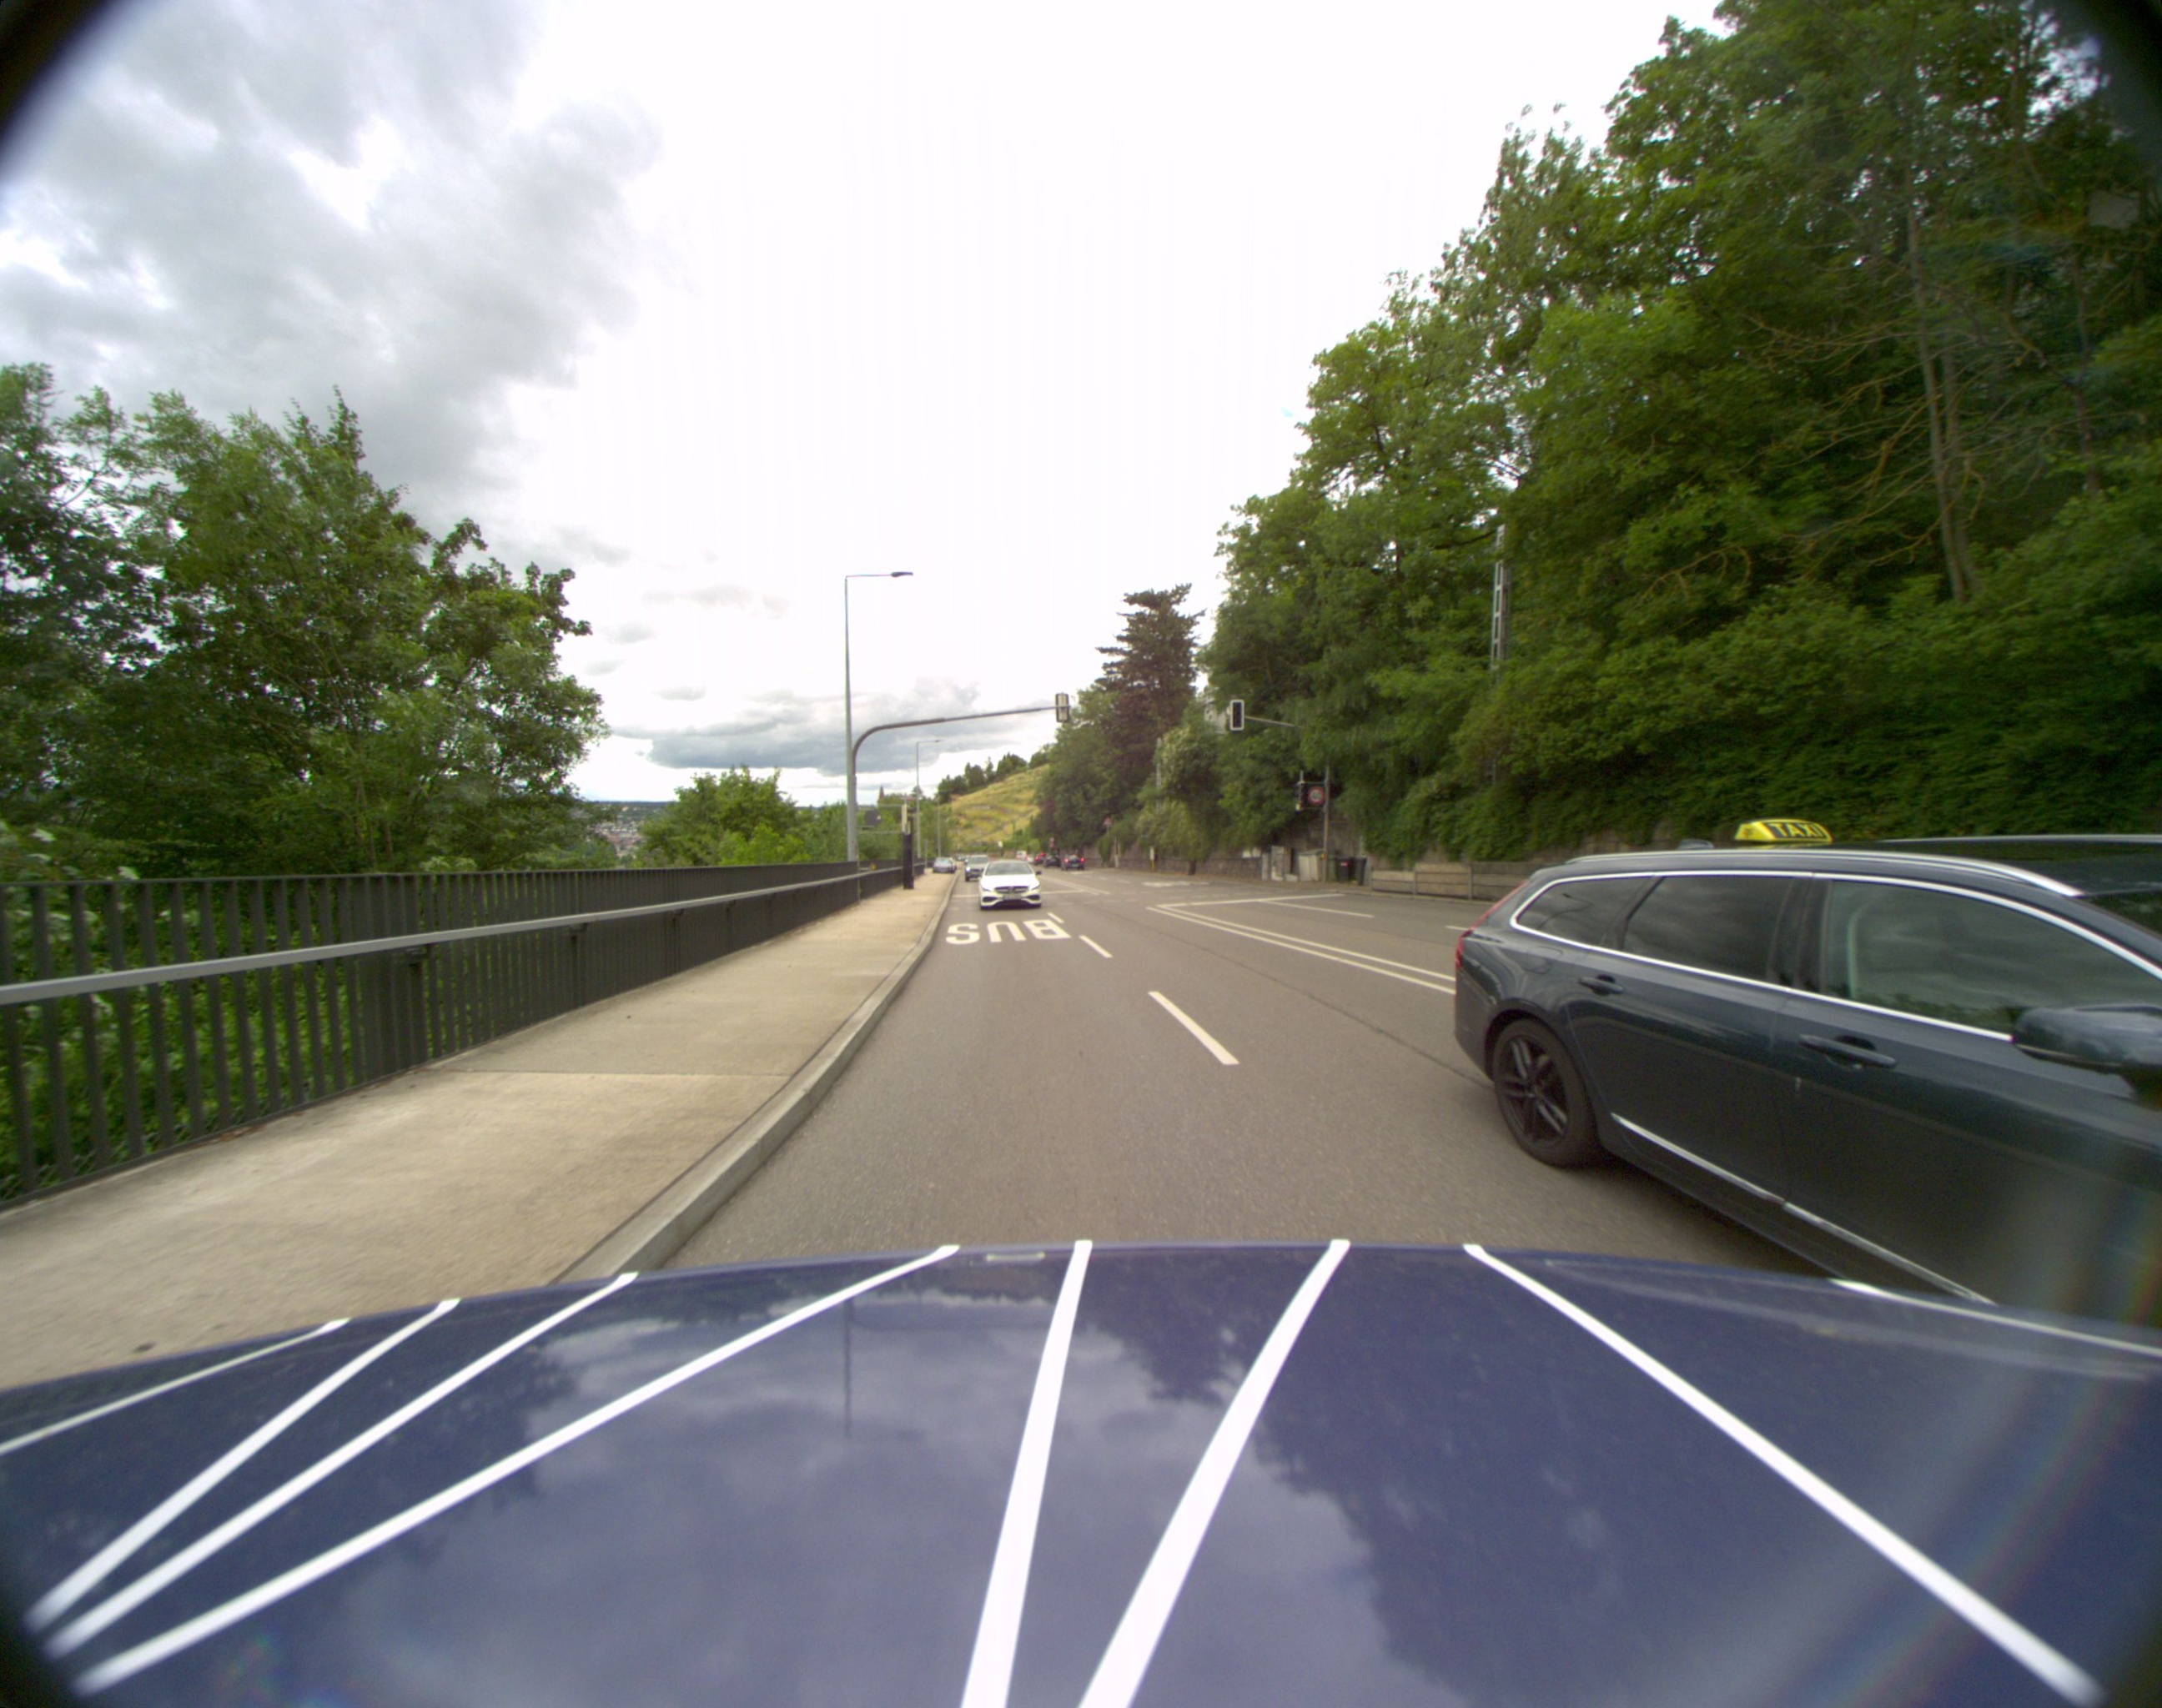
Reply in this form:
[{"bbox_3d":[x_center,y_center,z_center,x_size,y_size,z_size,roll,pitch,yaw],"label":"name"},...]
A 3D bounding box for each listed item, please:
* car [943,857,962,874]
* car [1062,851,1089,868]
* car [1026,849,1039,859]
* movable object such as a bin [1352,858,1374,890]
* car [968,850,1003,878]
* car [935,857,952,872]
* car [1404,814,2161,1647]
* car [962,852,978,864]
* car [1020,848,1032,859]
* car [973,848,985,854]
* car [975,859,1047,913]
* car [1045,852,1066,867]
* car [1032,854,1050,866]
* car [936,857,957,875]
[{"bbox_3d":[-12.898,1.143,76.273,1.732,1.559,4.620,-1,0,-8],"label":"car"},{"bbox_3d":[-0.530,0.461,68.316,1.818,1.426,4.245,-4,1,-7],"label":"car"},{"bbox_3d":[-7.249,-0.011,113.389,1.680,1.433,4.232,-4,0,-2],"label":"car"},{"bbox_3d":[8.919,0.625,24.025,0.428,0.944,0.478,-4,1,-10],"label":"movable object such as a bin"},{"bbox_3d":[-6.050,0.585,48.167,2.000,1.580,3.997,-4,1,-8],"label":"car"},{"bbox_3d":[-14.684,1.142,81.462,1.665,1.563,4.252,1,0,-8],"label":"car"},{"bbox_3d":[3.007,0.703,1.982,1.940,1.567,5.025,-4,1,-2],"label":"car"},{"bbox_3d":[-15.227,0.537,104.343,2.000,1.574,3.997,-1,0,-8],"label":"car"},{"bbox_3d":[-10.491,-0.147,144.591,1.927,1.993,5.351,-2,0,-8],"label":"car"},{"bbox_3d":[-27.145,-0.786,201.460,1.824,1.687,4.460,-3,1,-26],"label":"car"},{"bbox_3d":[-2.256,0.953,23.557,1.904,1.418,4.263,-3,-1,-9],"label":"car"},{"bbox_3d":[-2.869,0.590,84.043,1.787,1.473,4.208,-4,0,-8],"label":"car"},{"bbox_3d":[-5.317,0.760,99.849,1.948,1.540,4.245,-2,1,-8],"label":"car"},{"bbox_3d":[-12.336,1.089,69.765,1.763,1.535,4.423,1,0,-8],"label":"car"}]
